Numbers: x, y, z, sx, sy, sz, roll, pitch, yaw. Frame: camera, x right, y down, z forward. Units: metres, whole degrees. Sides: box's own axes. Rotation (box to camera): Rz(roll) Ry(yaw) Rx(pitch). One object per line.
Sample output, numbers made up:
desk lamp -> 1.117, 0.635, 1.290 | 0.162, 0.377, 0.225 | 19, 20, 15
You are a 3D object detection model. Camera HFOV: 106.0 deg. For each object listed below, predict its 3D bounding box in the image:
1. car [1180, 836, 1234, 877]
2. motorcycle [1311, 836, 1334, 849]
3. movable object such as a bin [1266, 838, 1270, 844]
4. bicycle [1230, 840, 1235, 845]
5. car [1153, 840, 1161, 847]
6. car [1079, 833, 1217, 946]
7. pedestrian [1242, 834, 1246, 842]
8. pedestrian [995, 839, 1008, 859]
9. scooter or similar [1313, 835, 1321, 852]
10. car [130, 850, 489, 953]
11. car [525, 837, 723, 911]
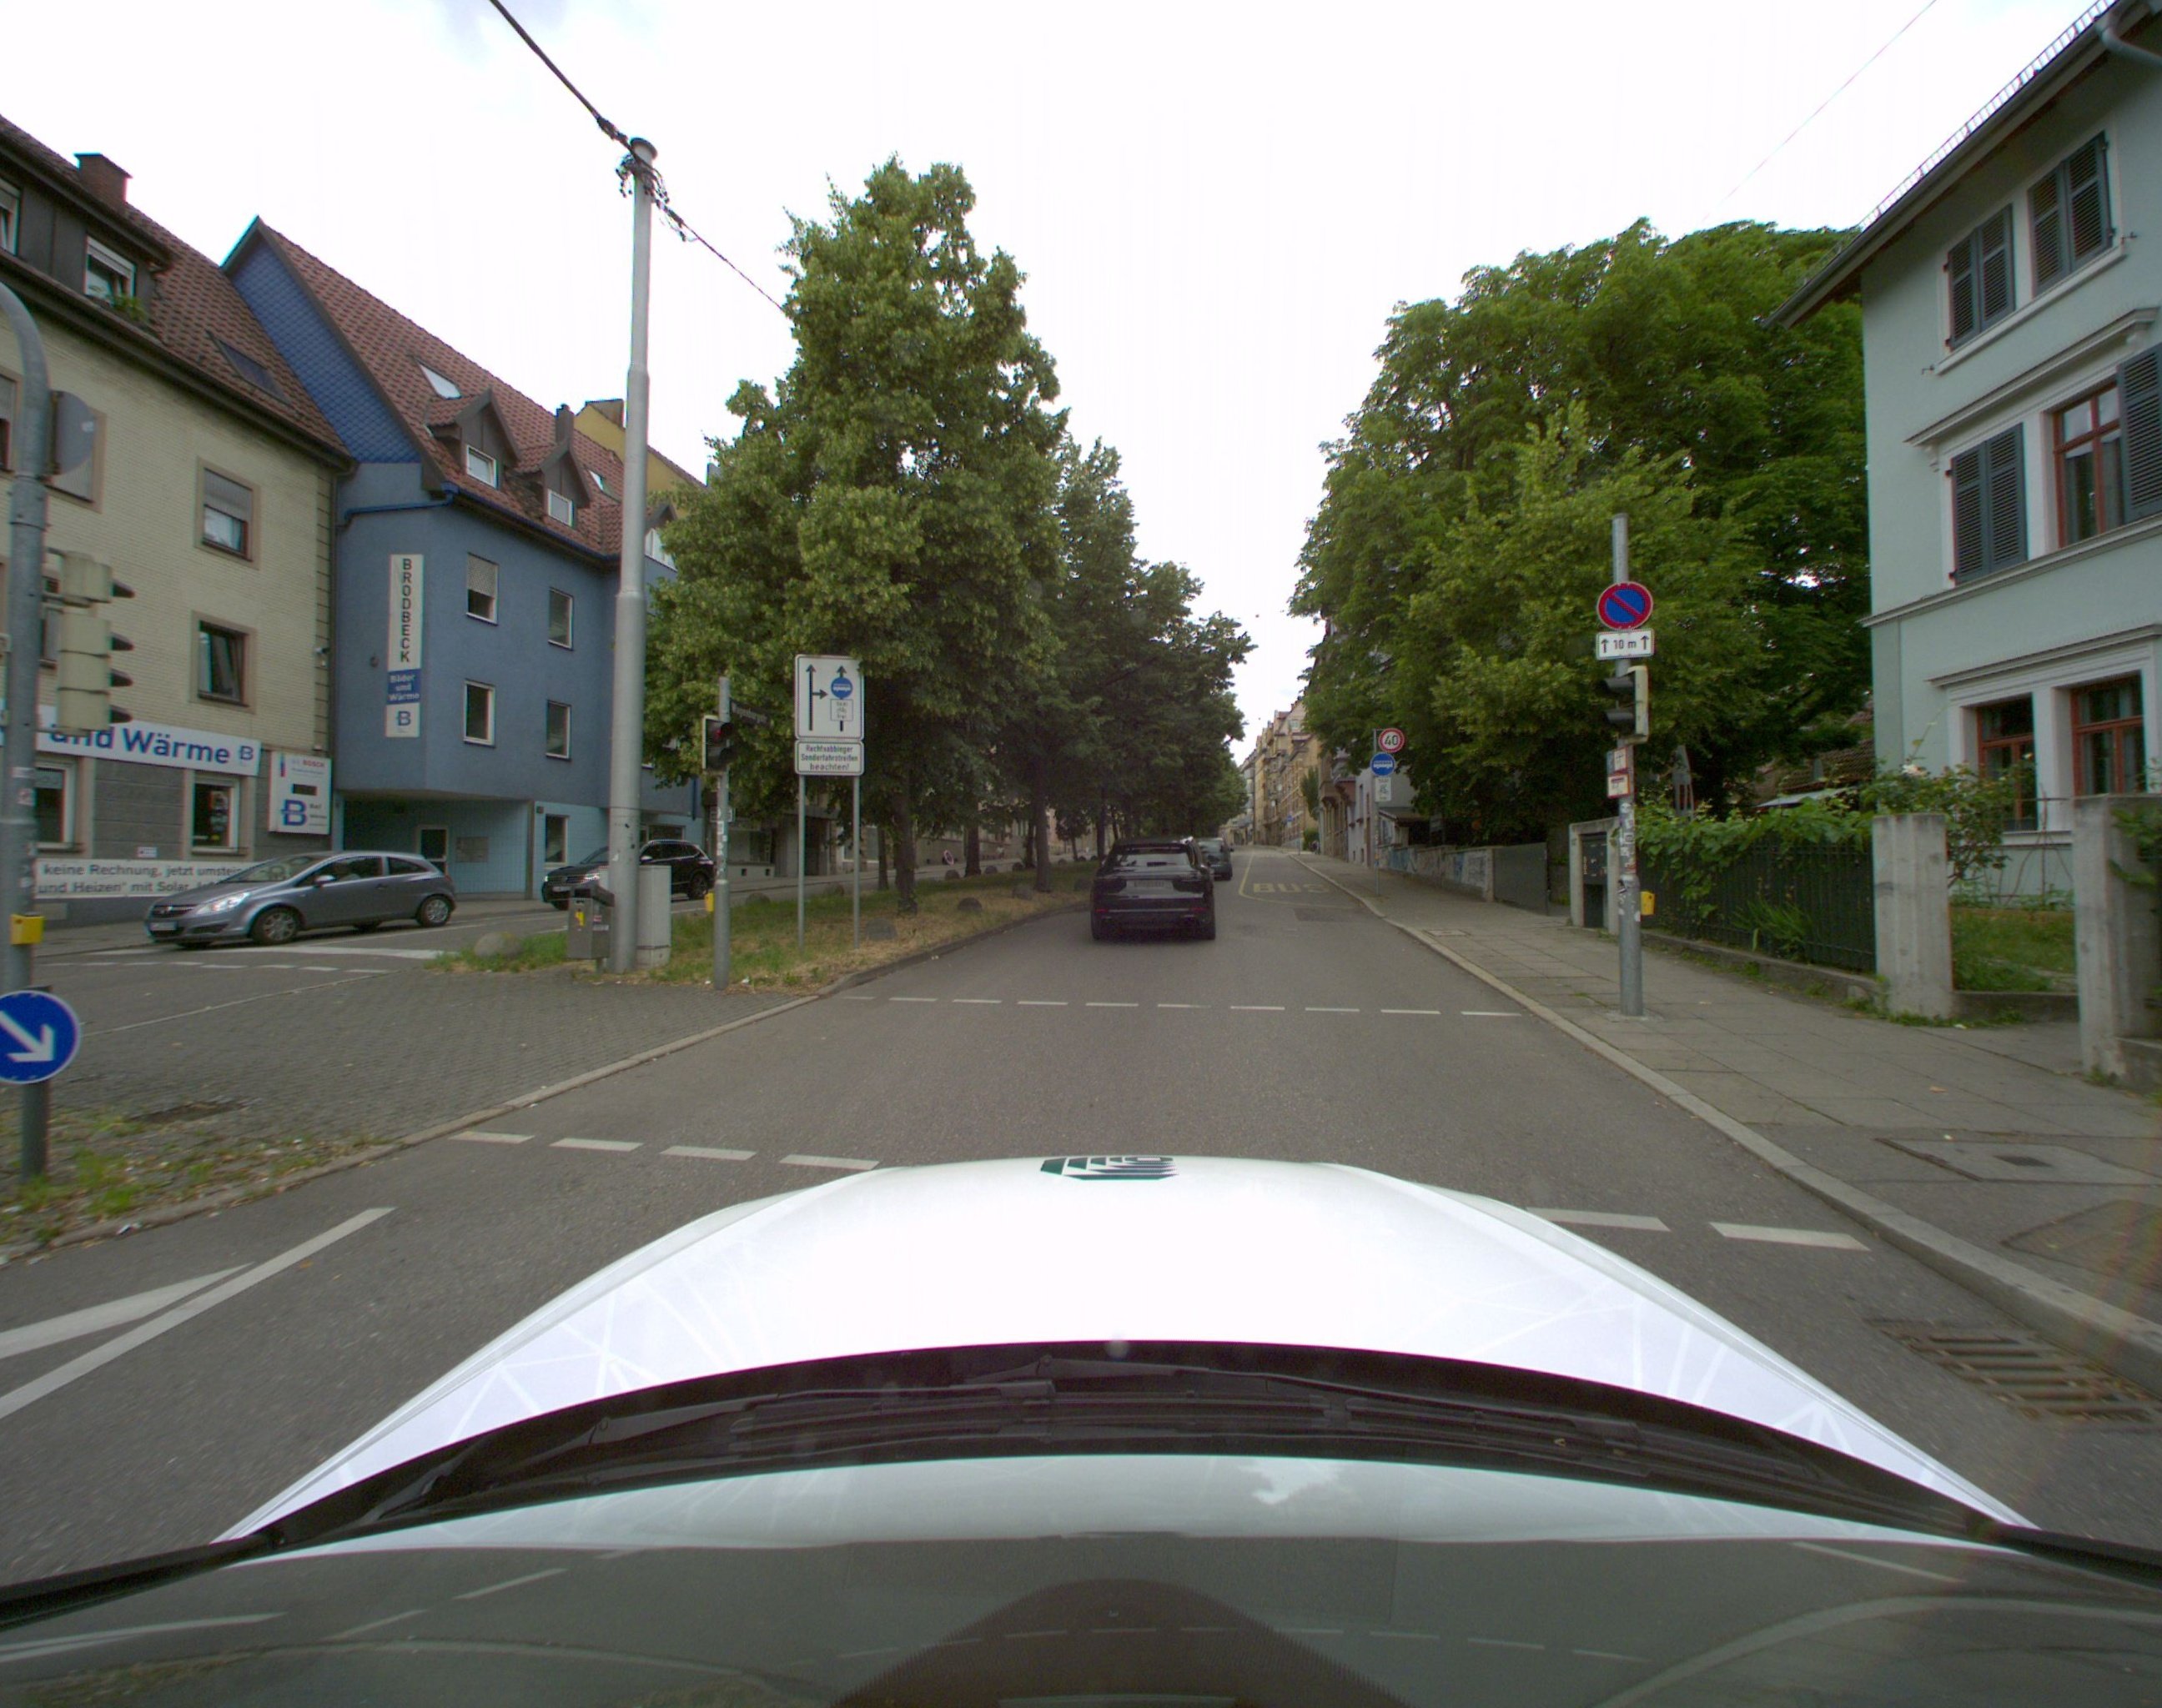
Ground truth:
car -> 4.884, 0.075, 31.230 | 1.751, 1.465, 3.605 | 0, 0, 14
motorcycle -> 24.011, -1.164, 81.049 | 2.044, 1.267, 1.012 | 1, 1, 7
movable object such as a bin -> 30.283, -2.148, 131.858 | 0.591, 0.904, 0.564 | 0, 0, 7
bicycle -> 35.795, -2.794, 191.976 | 0.875, 1.129, 2.983 | 0, -1, 5
car -> 16.685, -2.301, 178.531 | 1.701, 1.382, 4.674 | -2, 1, 4
car -> 1.314, 0.503, 14.144 | 1.981, 1.665, 4.012 | -1, 1, 10
pedestrian -> 34.473, -3.415, 172.150 | 0.747, 1.693, 0.860 | -1, -1, 6
pedestrian -> -5.953, -0.374, 61.012 | 0.694, 1.460, 0.706 | 0, 1, 13
scooter or similar -> 18.385, -0.803, 63.417 | 0.407, 1.209, 1.149 | -3, 3, 12
car -> -12.886, 0.689, 14.069 | 1.659, 1.406, 4.306 | -2, 1, 9
car -> -11.572, 0.468, 21.085 | 1.804, 1.637, 4.693 | -3, 0, 11
